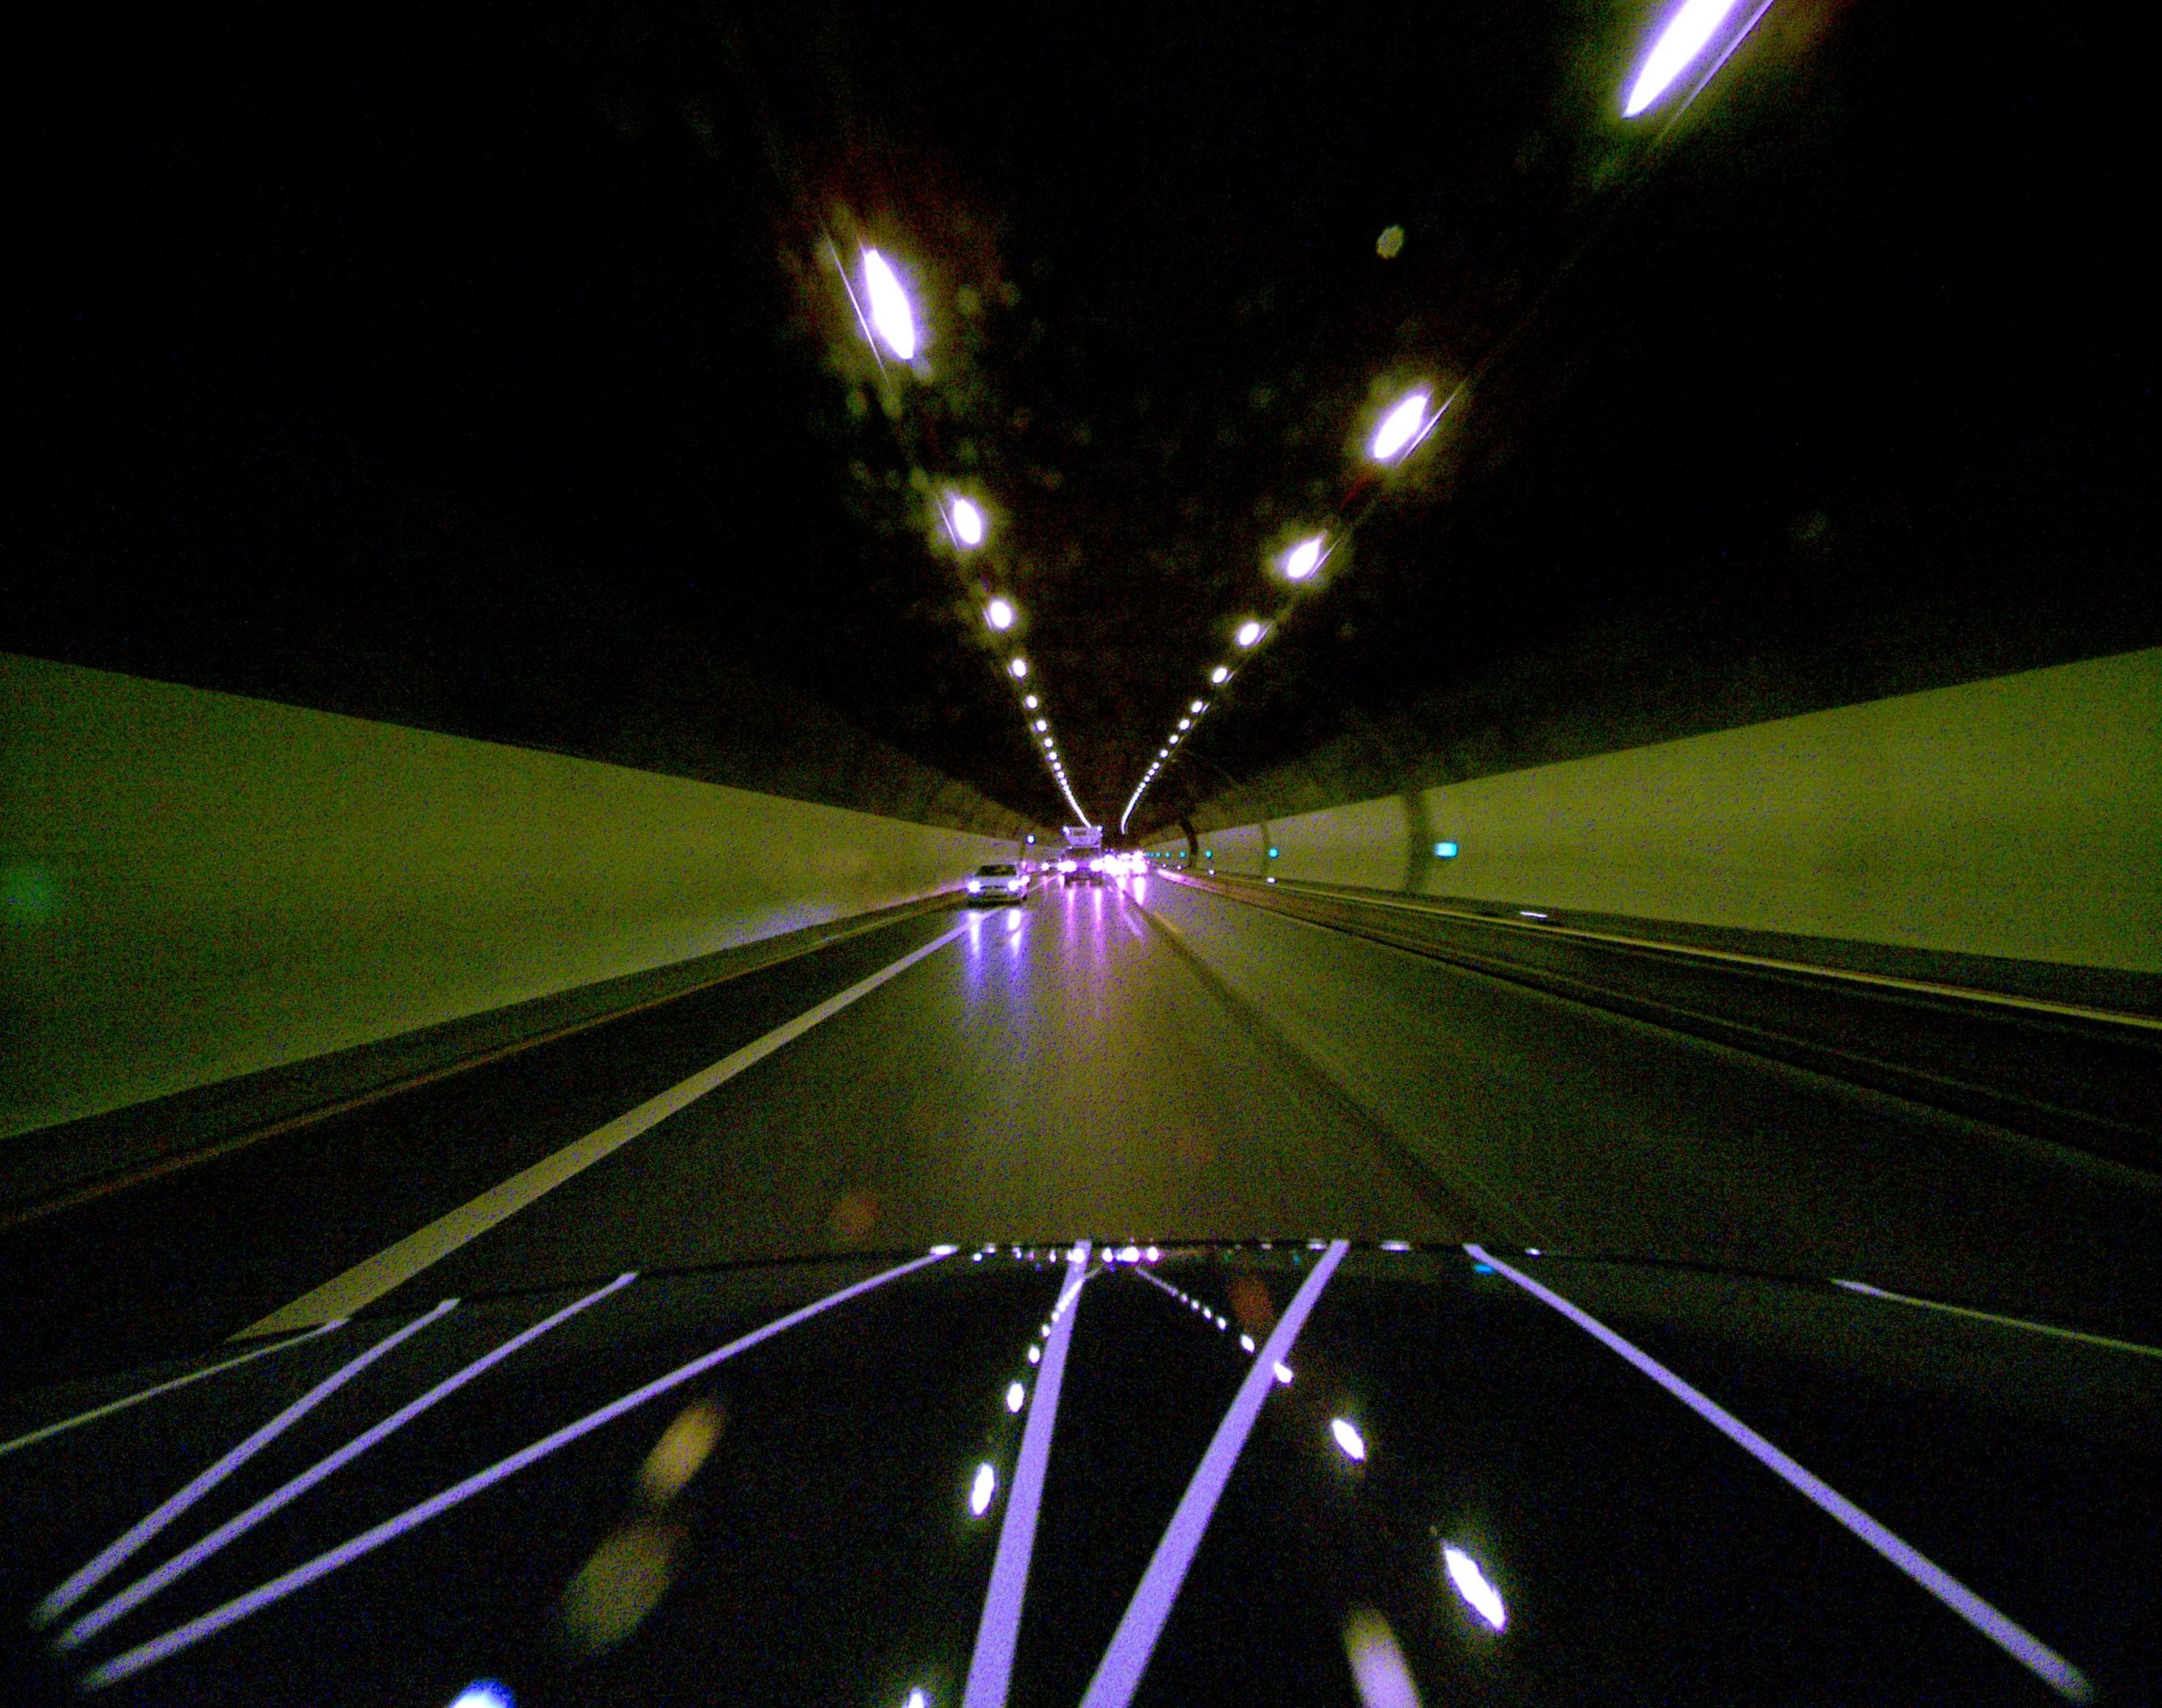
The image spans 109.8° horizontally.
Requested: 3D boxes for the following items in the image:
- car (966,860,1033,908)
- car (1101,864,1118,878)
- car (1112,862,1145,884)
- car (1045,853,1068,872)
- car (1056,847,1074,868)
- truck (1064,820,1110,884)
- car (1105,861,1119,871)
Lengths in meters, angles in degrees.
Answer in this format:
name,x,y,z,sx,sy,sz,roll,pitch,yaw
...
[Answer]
name,x,y,z,sx,sy,sz,roll,pitch,yaw
car,-2.775,0.985,26.653,1.801,1.452,4.034,-2,0,1
car,3.112,1.864,83.445,1.657,1.395,3.656,-1,0,-1
car,3.431,1.351,55.692,1.908,1.476,4.943,-1,-1,-2
car,-2.173,0.740,67.930,1.958,1.527,4.757,-3,0,-2
car,-2.120,0.397,99.350,2.124,2.629,6.228,-3,1,-1
truck,0.234,-0.093,43.125,2.262,3.238,7.382,-2,0,-1
car,5.269,2.017,130.326,1.958,1.527,4.757,-4,0,-2
